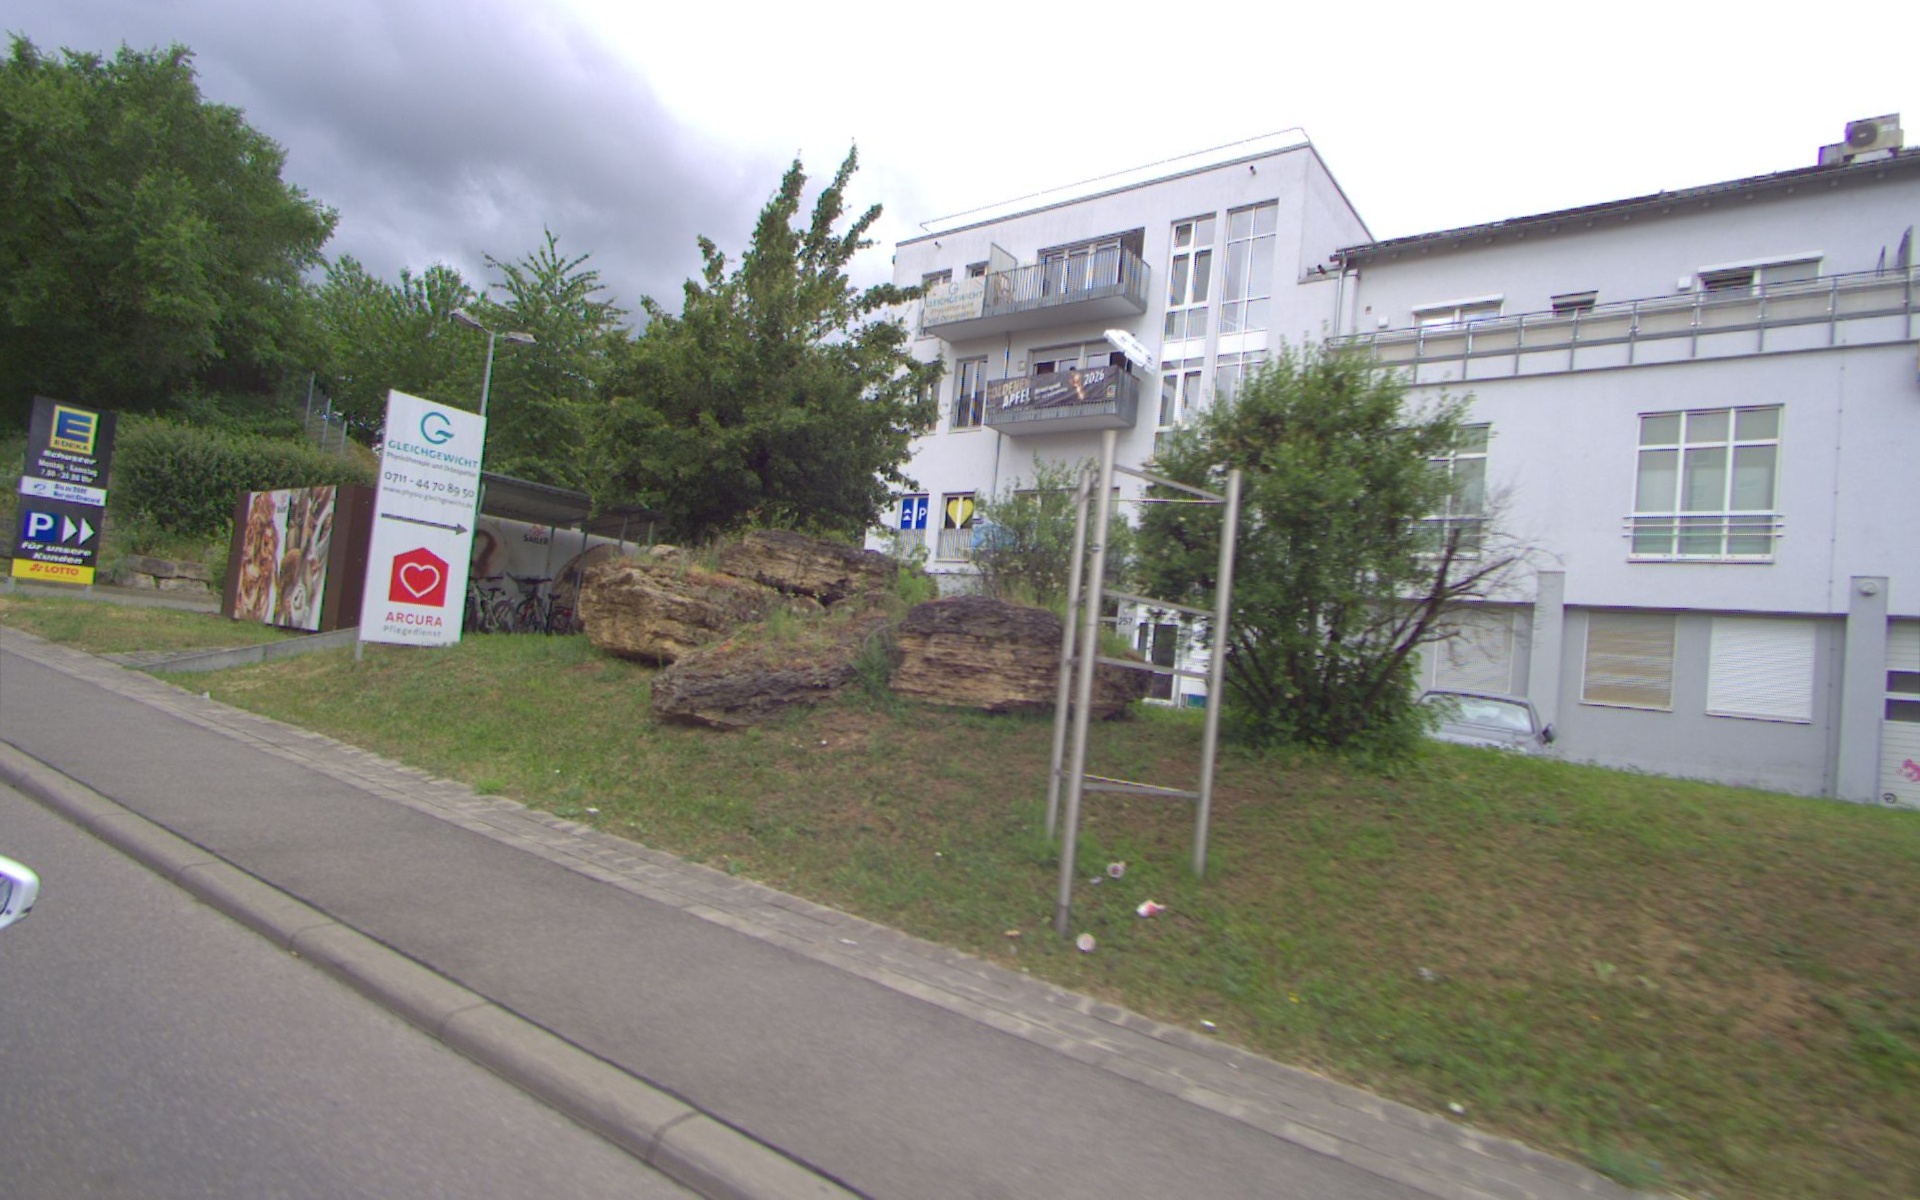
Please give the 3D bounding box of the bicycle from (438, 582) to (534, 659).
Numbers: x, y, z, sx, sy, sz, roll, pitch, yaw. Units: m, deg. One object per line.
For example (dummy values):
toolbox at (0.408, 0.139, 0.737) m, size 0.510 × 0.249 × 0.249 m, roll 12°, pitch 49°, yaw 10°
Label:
bicycle at (-6.698, 0.280, 14.187) m, size 1.458 × 0.885 × 0.491 m, roll 6°, pitch -2°, yaw 36°

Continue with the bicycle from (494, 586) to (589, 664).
bicycle at (-6.229, 0.365, 14.942) m, size 1.530 × 0.963 × 0.491 m, roll 6°, pitch -2°, yaw 36°

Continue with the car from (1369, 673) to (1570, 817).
car at (6.667, 1.800, 12.941) m, size 1.806 × 1.368 × 3.878 m, roll 4°, pitch -4°, yaw 34°
